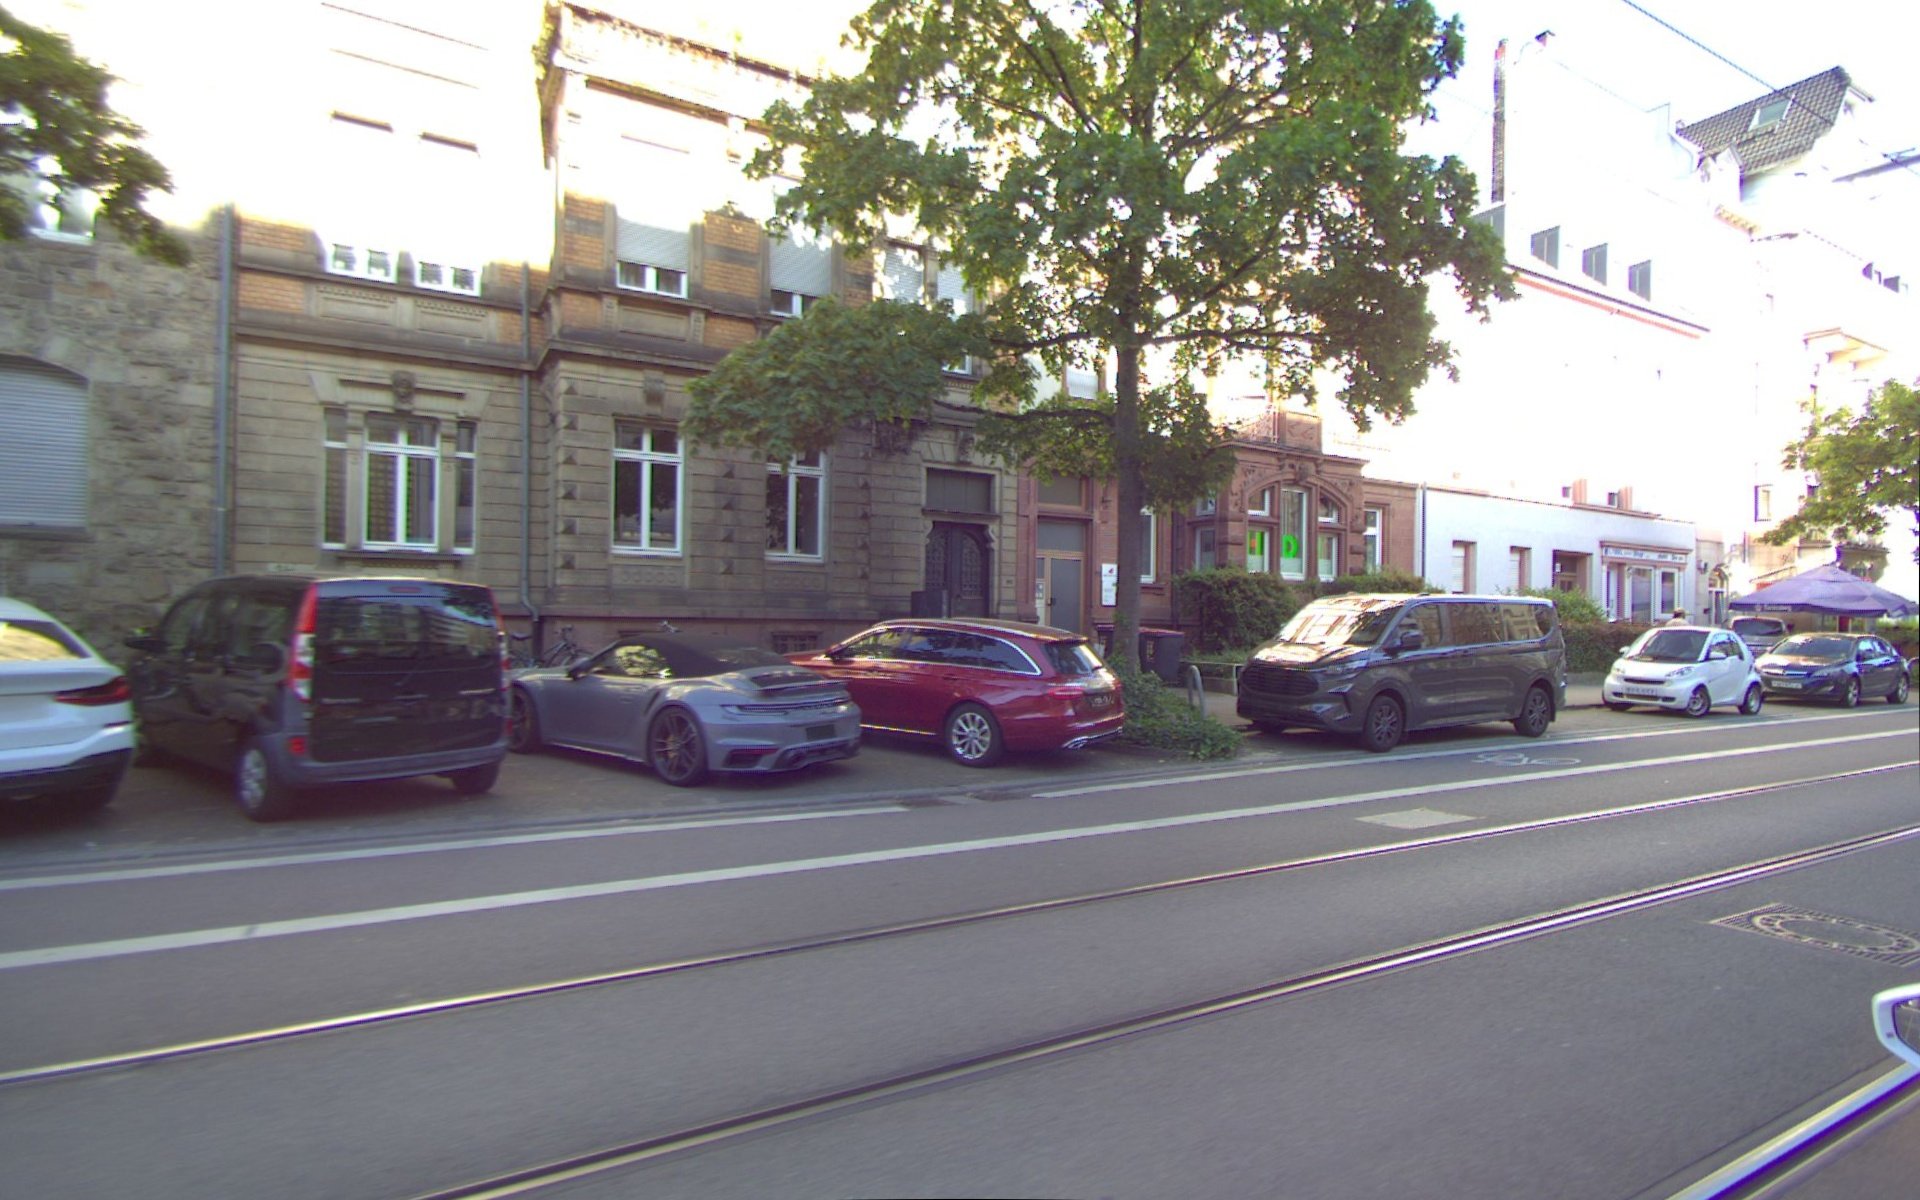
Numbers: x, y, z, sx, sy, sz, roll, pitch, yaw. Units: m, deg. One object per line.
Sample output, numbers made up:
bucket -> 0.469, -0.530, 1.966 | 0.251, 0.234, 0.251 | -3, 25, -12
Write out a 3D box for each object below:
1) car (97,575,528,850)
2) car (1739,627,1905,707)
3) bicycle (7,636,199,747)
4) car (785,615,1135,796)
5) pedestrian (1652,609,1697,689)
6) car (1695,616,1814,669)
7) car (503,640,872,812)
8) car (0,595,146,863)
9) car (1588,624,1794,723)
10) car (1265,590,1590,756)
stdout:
car -> -5.612, 0.748, 8.569 | 3.933, 1.841, 1.707 | 1, -1, 35
car -> 18.294, 1.368, 21.271 | 4.002, 1.506, 1.736 | 2, -1, -35
bicycle -> -9.814, 1.005, 11.582 | 0.381, 1.151, 1.697 | 1, -1, 19
car -> -0.084, 1.042, 11.410 | 3.678, 1.644, 1.781 | 1, -1, 39
pedestrian -> 16.775, 1.135, 23.590 | 0.652, 1.848, 0.622 | 1, 0, -30
car -> 23.882, 1.273, 30.179 | 3.485, 1.488, 1.626 | 2, -1, -30
car -> -2.809, 1.111, 10.049 | 3.746, 1.282, 1.511 | 1, -1, 35
car -> -8.011, 0.760, 7.167 | 4.684, 1.639, 1.710 | 1, -1, 28
car -> 13.811, 1.311, 18.908 | 4.364, 1.639, 1.737 | 2, -1, -34
car -> 6.763, 0.946, 14.279 | 5.185, 1.999, 1.737 | 2, -1, -34
